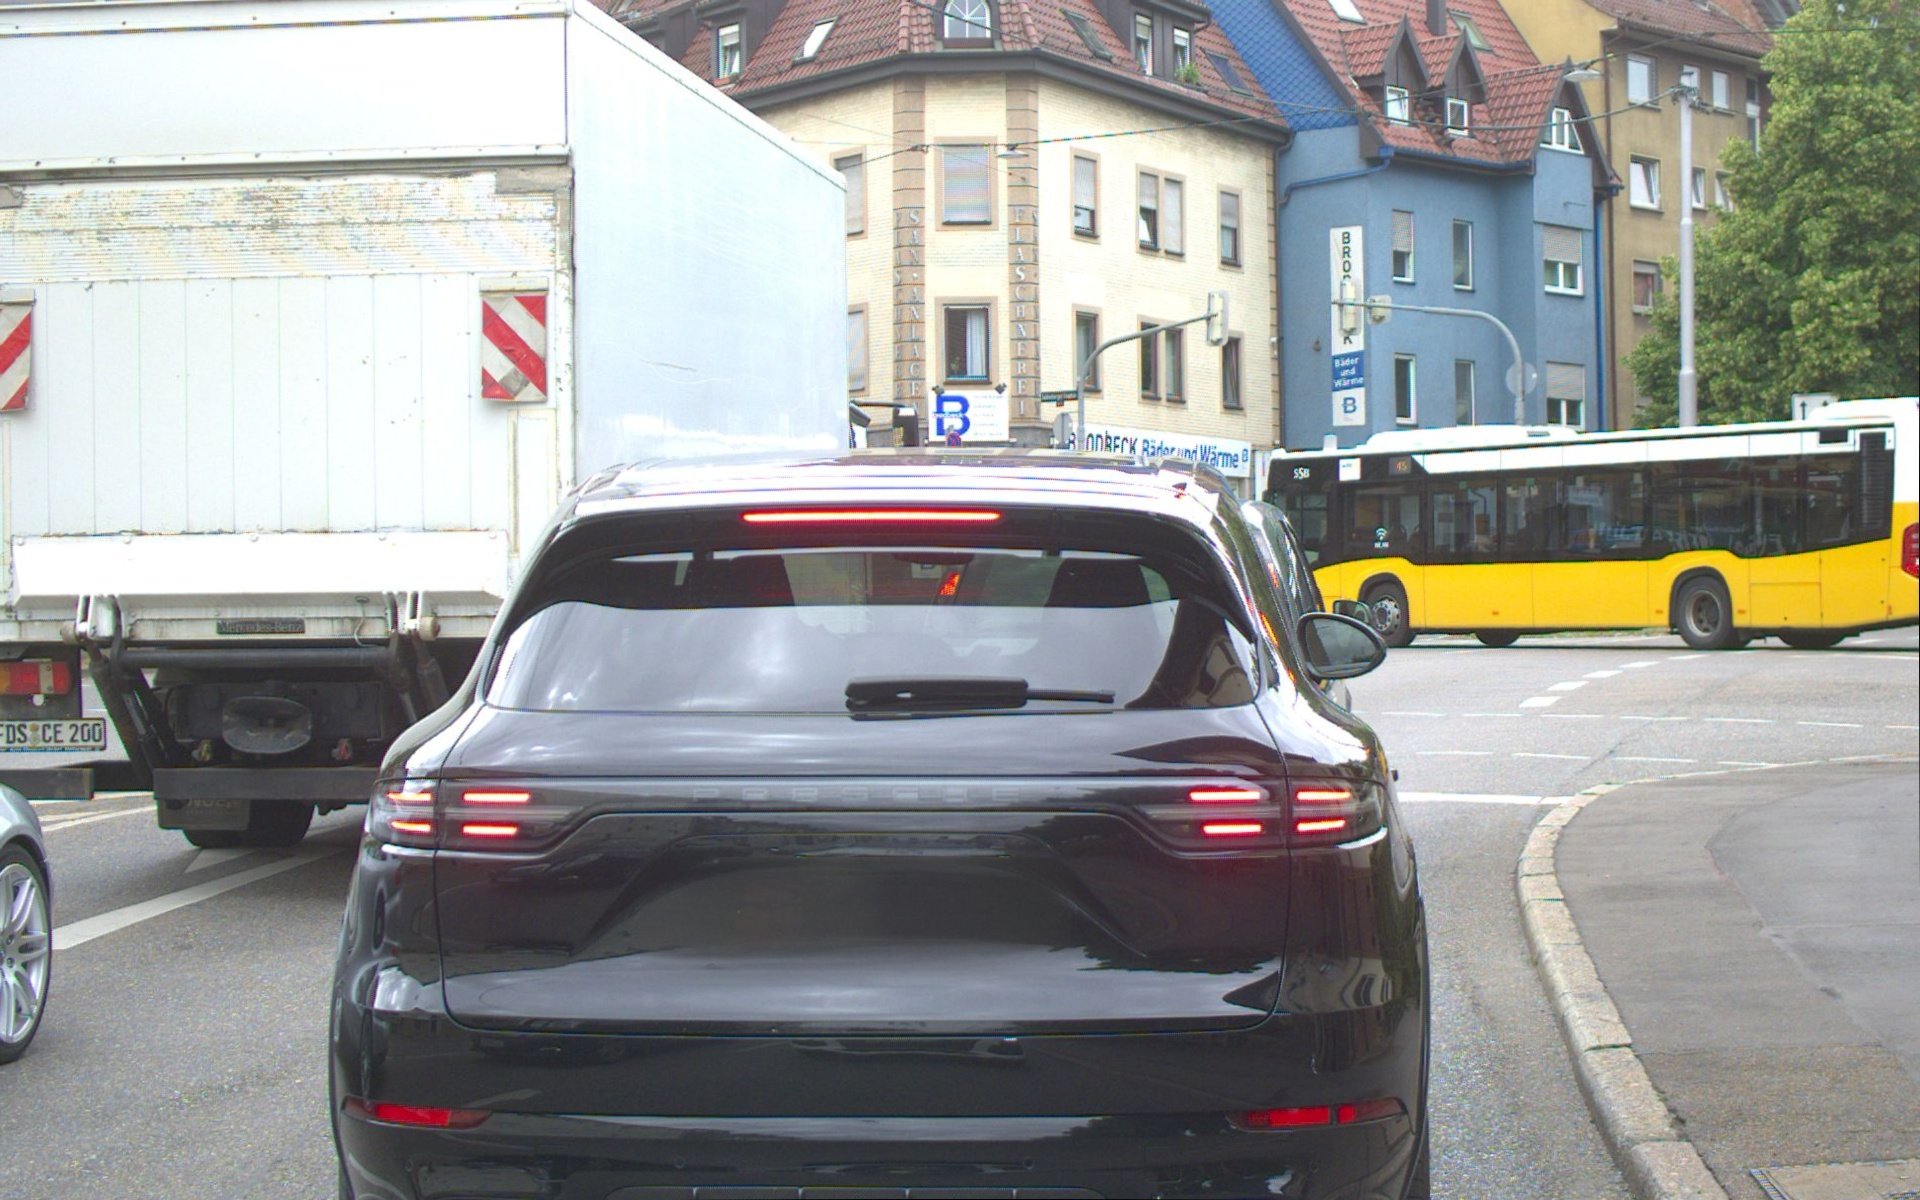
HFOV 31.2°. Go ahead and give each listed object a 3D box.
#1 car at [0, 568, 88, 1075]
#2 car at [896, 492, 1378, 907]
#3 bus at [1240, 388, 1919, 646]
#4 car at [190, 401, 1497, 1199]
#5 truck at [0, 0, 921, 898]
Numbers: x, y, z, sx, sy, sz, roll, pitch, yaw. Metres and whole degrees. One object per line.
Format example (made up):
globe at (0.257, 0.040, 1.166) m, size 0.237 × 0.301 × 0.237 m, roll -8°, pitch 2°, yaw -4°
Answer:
car at (-3.495, 0.641, 8.008) m, size 1.629 × 1.360 × 4.128 m, roll -1°, pitch 1°, yaw 4°
car at (0.880, 0.357, 14.861) m, size 1.649 × 1.550 × 3.581 m, roll 1°, pitch 1°, yaw 10°
bus at (9.098, -0.979, 46.716) m, size 3.158 × 3.085 × 12.148 m, roll -2°, pitch 0°, yaw -37°
car at (-0.105, 0.517, 7.623) m, size 2.032 × 1.717 × 4.500 m, roll 1°, pitch 1°, yaw 2°
truck at (-2.201, -0.706, 17.345) m, size 2.726 × 3.532 × 8.419 m, roll -1°, pitch 1°, yaw 8°
